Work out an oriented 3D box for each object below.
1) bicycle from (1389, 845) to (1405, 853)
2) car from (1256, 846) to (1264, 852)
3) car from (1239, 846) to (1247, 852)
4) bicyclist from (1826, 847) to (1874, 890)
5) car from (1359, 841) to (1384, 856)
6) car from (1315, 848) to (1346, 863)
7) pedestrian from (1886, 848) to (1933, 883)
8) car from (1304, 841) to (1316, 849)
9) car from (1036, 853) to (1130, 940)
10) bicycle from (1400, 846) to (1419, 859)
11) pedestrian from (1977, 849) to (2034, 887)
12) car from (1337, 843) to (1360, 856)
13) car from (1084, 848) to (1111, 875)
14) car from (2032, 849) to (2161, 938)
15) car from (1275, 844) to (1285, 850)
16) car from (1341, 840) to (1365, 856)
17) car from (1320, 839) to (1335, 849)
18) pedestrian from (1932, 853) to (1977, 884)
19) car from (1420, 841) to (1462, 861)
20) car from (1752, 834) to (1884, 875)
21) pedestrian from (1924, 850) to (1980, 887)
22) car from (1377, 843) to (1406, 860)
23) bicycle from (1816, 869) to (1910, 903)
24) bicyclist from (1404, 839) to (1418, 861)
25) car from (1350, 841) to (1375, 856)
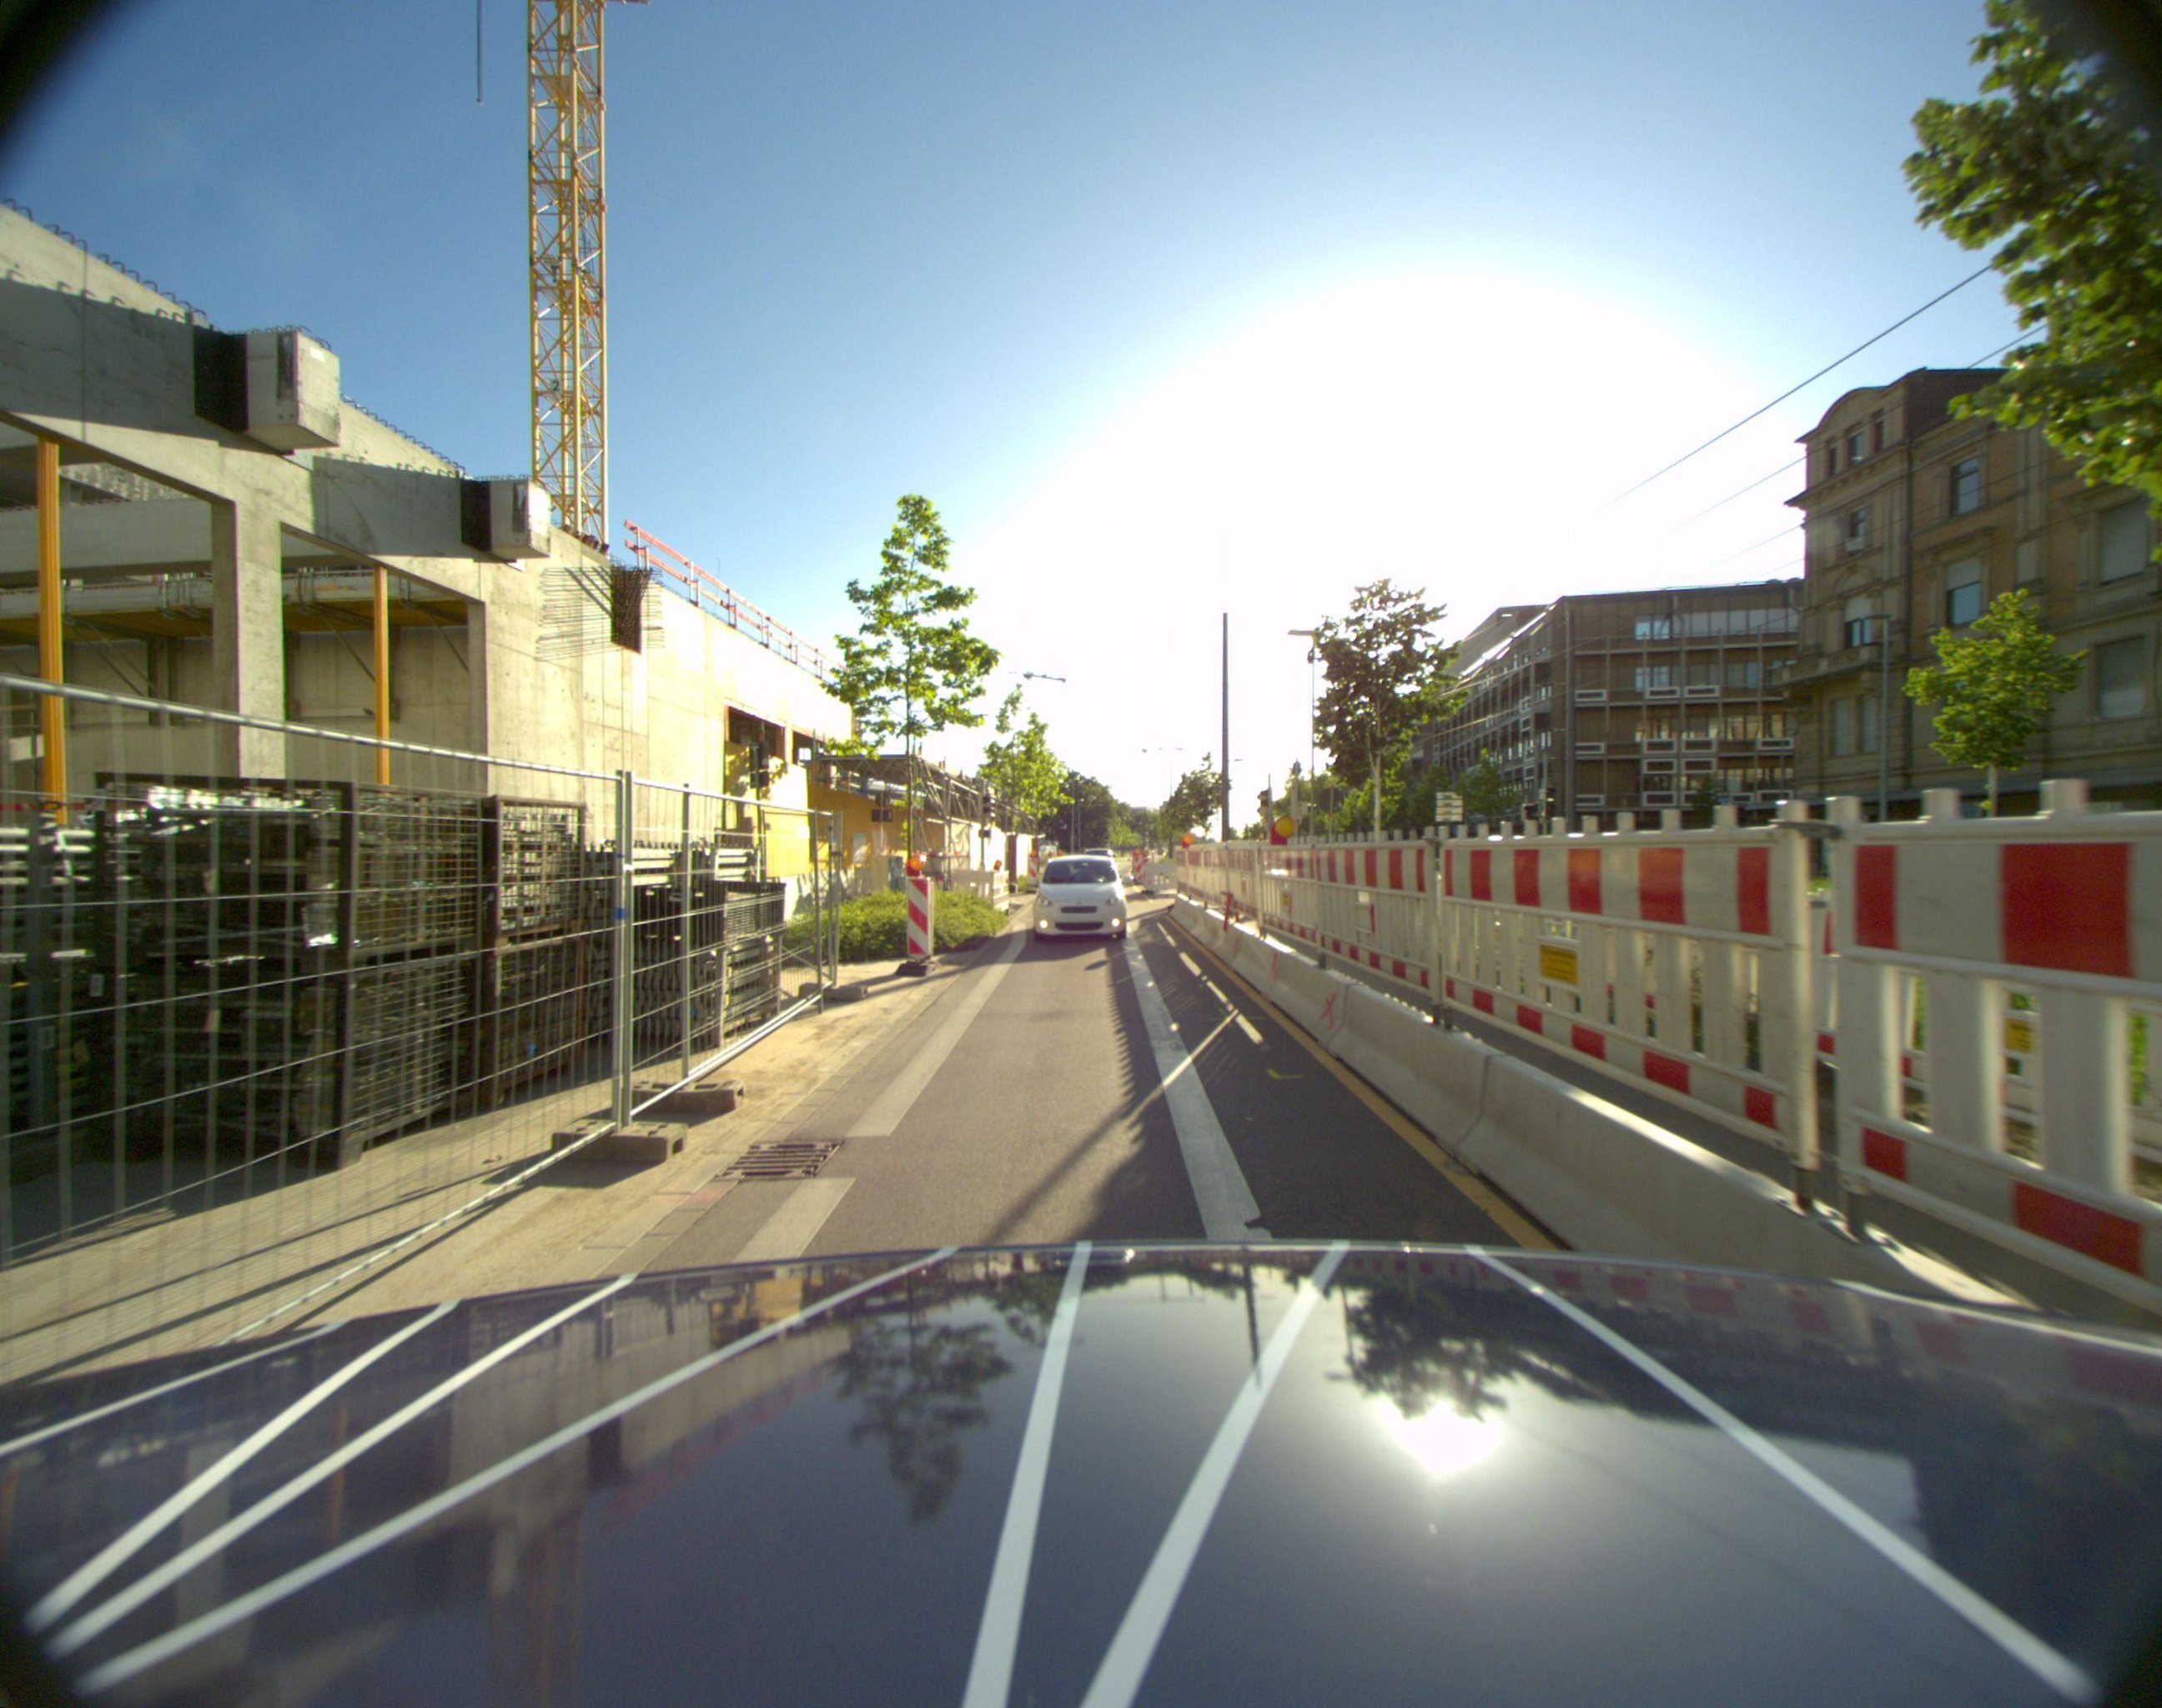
[{"bbox_3d":[40.496,-0.640,97.391,1.931,1.066,0.425,1,1,14],"label":"bicycle"},{"bbox_3d":[45.093,-1.354,191.001,1.631,1.487,3.781,0,1,8],"label":"car"},{"bbox_3d":[41.801,-1.312,195.940,1.731,1.736,4.123,-1,1,7],"label":"car"},{"bbox_3d":[22.232,0.405,21.969,0.638,1.232,0.738,0,1,3],"label":"bicyclist"},{"bbox_3d":[29.555,-0.607,77.485,1.627,1.433,3.821,-1,0,9],"label":"car"},{"bbox_3d":[25.061,0.099,76.459,1.857,1.412,4.070,-2,1,2],"label":"car"},{"bbox_3d":[29.642,0.410,27.199,0.692,1.239,0.929,0,1,3],"label":"pedestrian"},{"bbox_3d":[46.477,-1.872,154.401,1.725,1.535,3.633,-2,0,9],"label":"car"},{"bbox_3d":[0.100,0.767,15.368,1.614,1.489,3.395,-3,0,2],"label":"car"},{"bbox_3d":[25.359,-0.103,58.704,0.696,0.972,1.827,0,1,2],"label":"bicycle"},{"bbox_3d":[29.726,0.438,24.447,0.692,1.201,0.929,0,1,3],"label":"pedestrian"},{"bbox_3d":[32.402,-0.523,92.223,1.732,1.460,4.507,-2,0,8],"label":"car"},{"bbox_3d":[0.919,0.406,43.148,1.458,1.472,3.527,0,0,1],"label":"car"},{"bbox_3d":[18.973,0.666,12.741,1.598,1.474,3.623,0,1,3],"label":"car"},{"bbox_3d":[47.510,-1.676,181.582,1.719,1.379,4.041,-1,1,7],"label":"car"},{"bbox_3d":[31.170,-0.634,87.078,1.754,1.761,4.334,-1,0,9],"label":"car"},{"bbox_3d":[35.277,-1.366,108.831,1.718,1.379,4.043,0,1,14],"label":"car"},{"bbox_3d":[30.364,0.511,26.418,0.692,1.053,0.736,0,1,3],"label":"pedestrian"},{"bbox_3d":[28.024,-0.265,59.260,1.734,1.453,3.901,-2,0,5],"label":"car"},{"bbox_3d":[34.820,0.011,35.986,4.522,1.892,1.897,0,1,-3],"label":"car"},{"bbox_3d":[29.199,0.480,25.485,0.793,1.201,0.929,0,1,3],"label":"pedestrian"},{"bbox_3d":[29.120,-0.272,71.410,1.652,1.545,3.969,0,1,9],"label":"car"},{"bbox_3d":[22.229,0.889,21.665,0.638,0.853,2.031,0,1,3],"label":"bicycle"},{"bbox_3d":[25.352,-0.315,58.438,0.696,1.648,0.882,0,1,2],"label":"bicyclist"},{"bbox_3d":[30.254,-0.565,81.717,1.741,1.527,3.887,-1,0,9],"label":"car"}]
